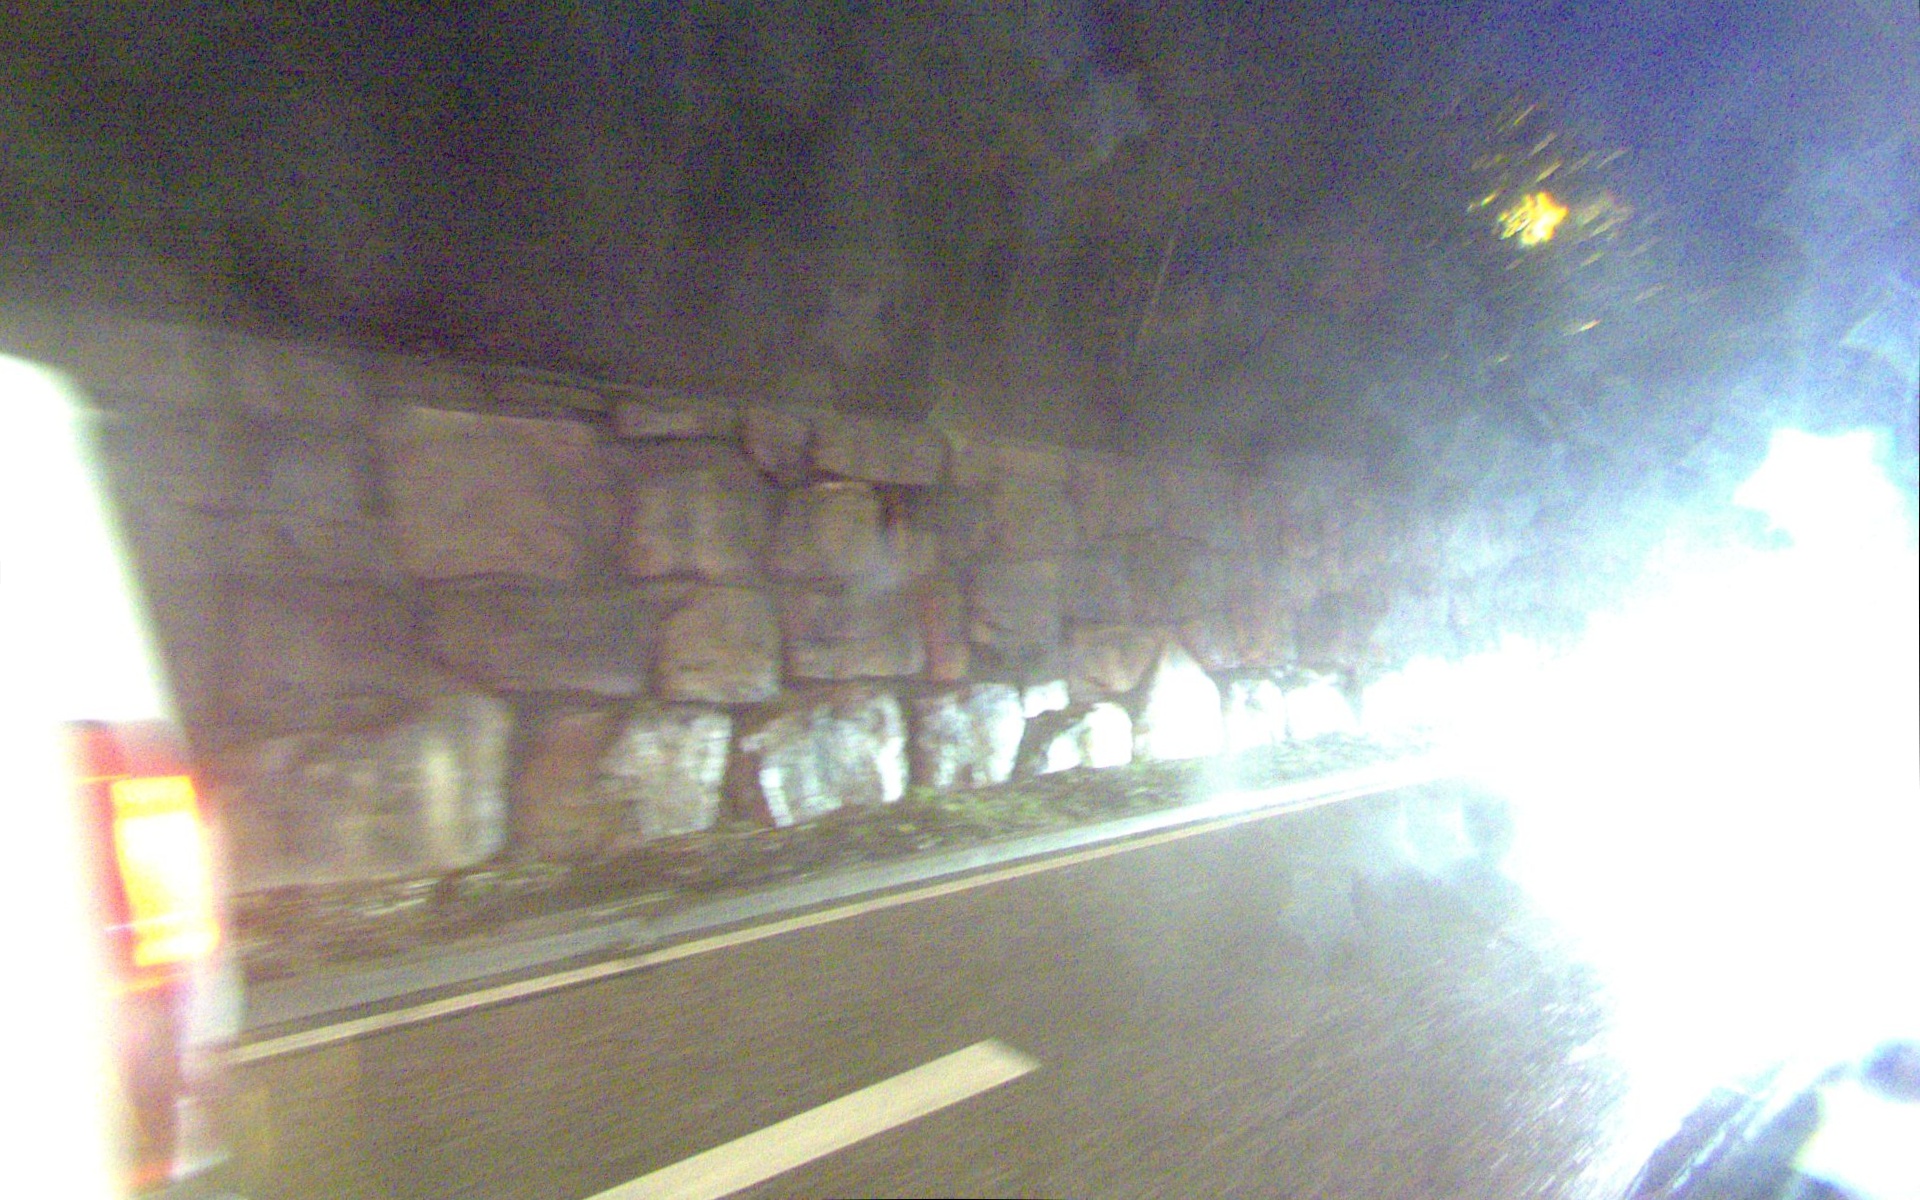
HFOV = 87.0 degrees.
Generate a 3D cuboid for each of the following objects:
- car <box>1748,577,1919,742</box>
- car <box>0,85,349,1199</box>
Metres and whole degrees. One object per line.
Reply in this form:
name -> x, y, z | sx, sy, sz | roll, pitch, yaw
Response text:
car -> 11.267, 0.618, 12.296 | 4.142, 1.715, 1.790 | 0, 0, -39
car -> -3.004, 0.493, 0.376 | 4.502, 2.047, 1.793 | 0, 0, -43
